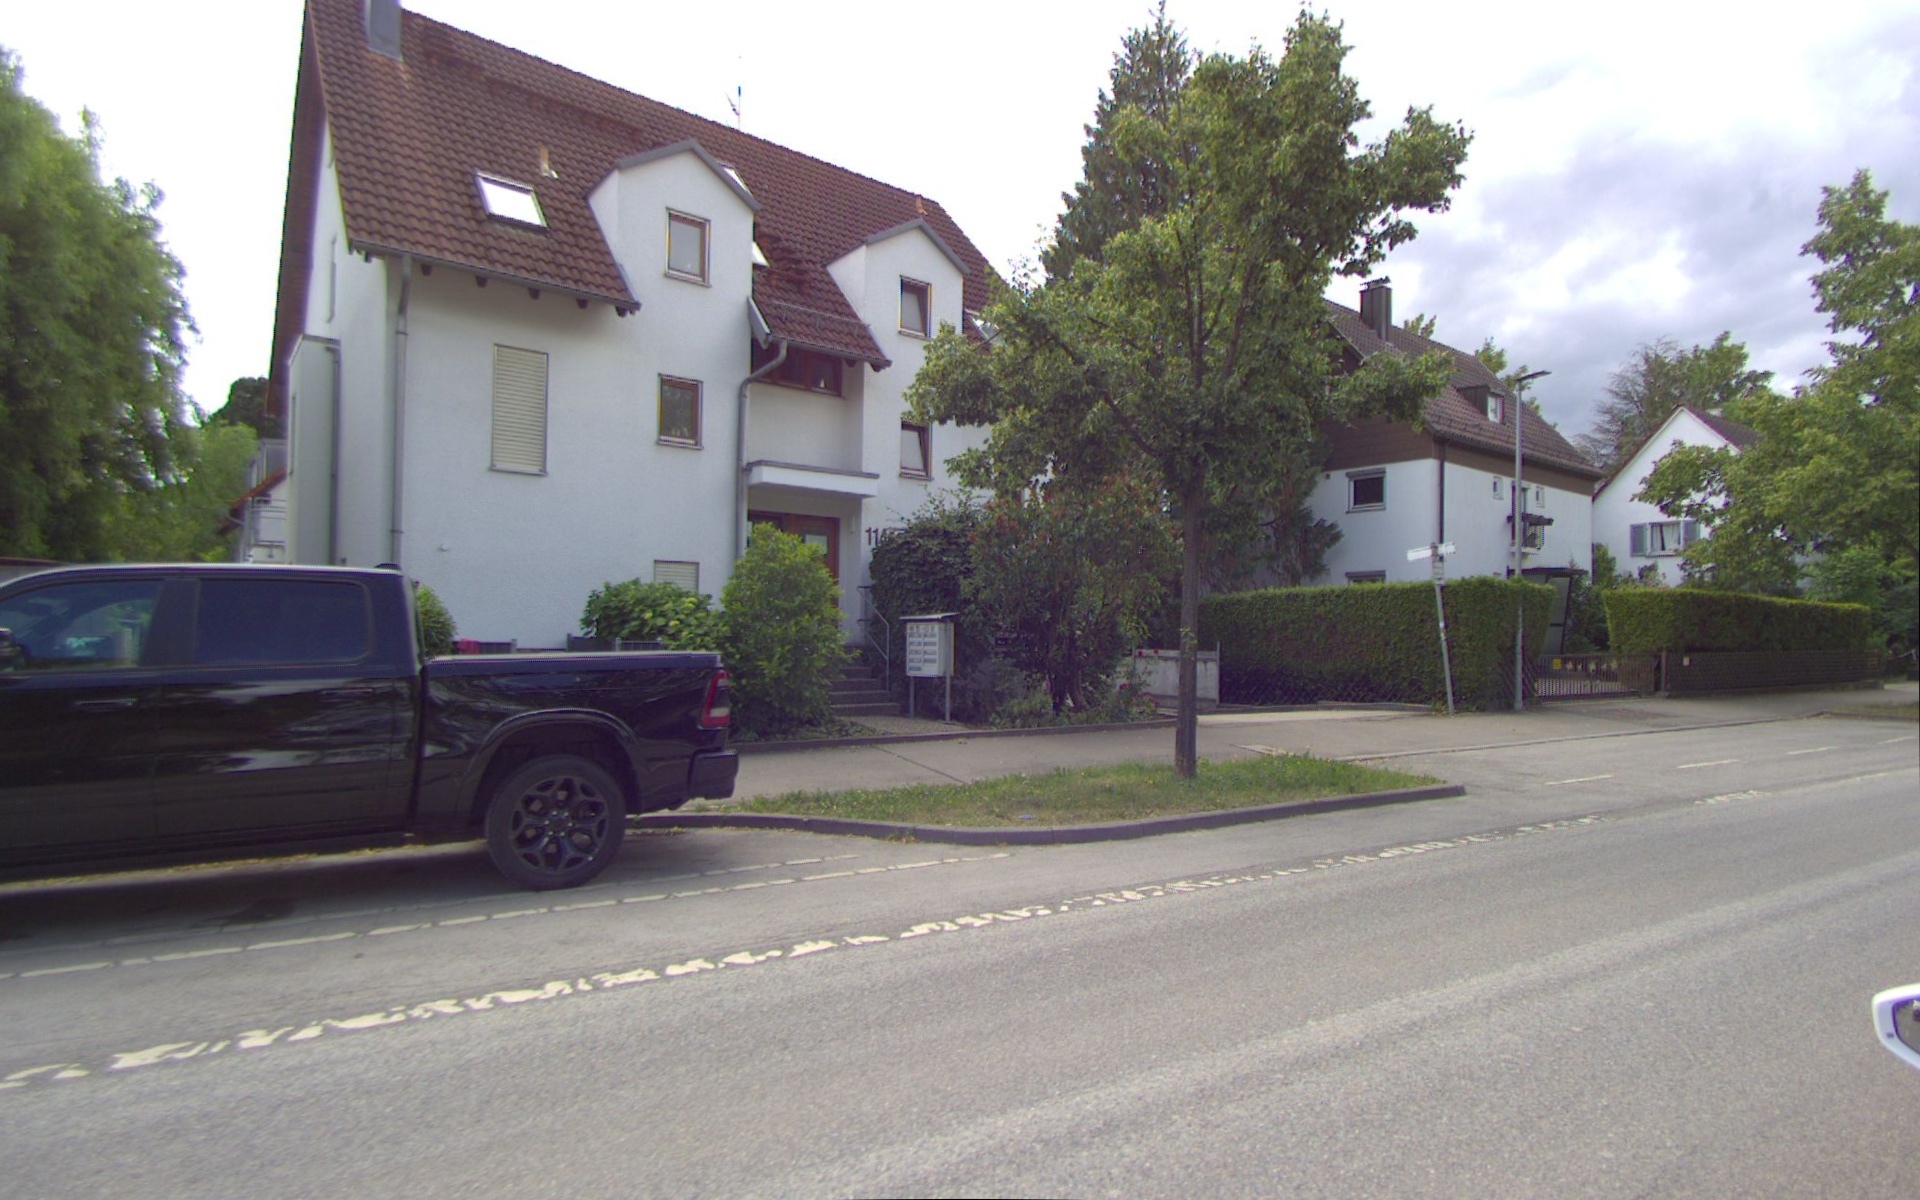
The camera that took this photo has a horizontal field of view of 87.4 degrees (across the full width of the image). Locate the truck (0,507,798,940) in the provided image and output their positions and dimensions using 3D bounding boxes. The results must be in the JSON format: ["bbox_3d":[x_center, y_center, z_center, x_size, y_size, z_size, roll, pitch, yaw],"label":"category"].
[{"bbox_3d":[-4.265,0.642,6.424,5.926,2.070,2.411,1,-2,-31],"label":"truck"}]
